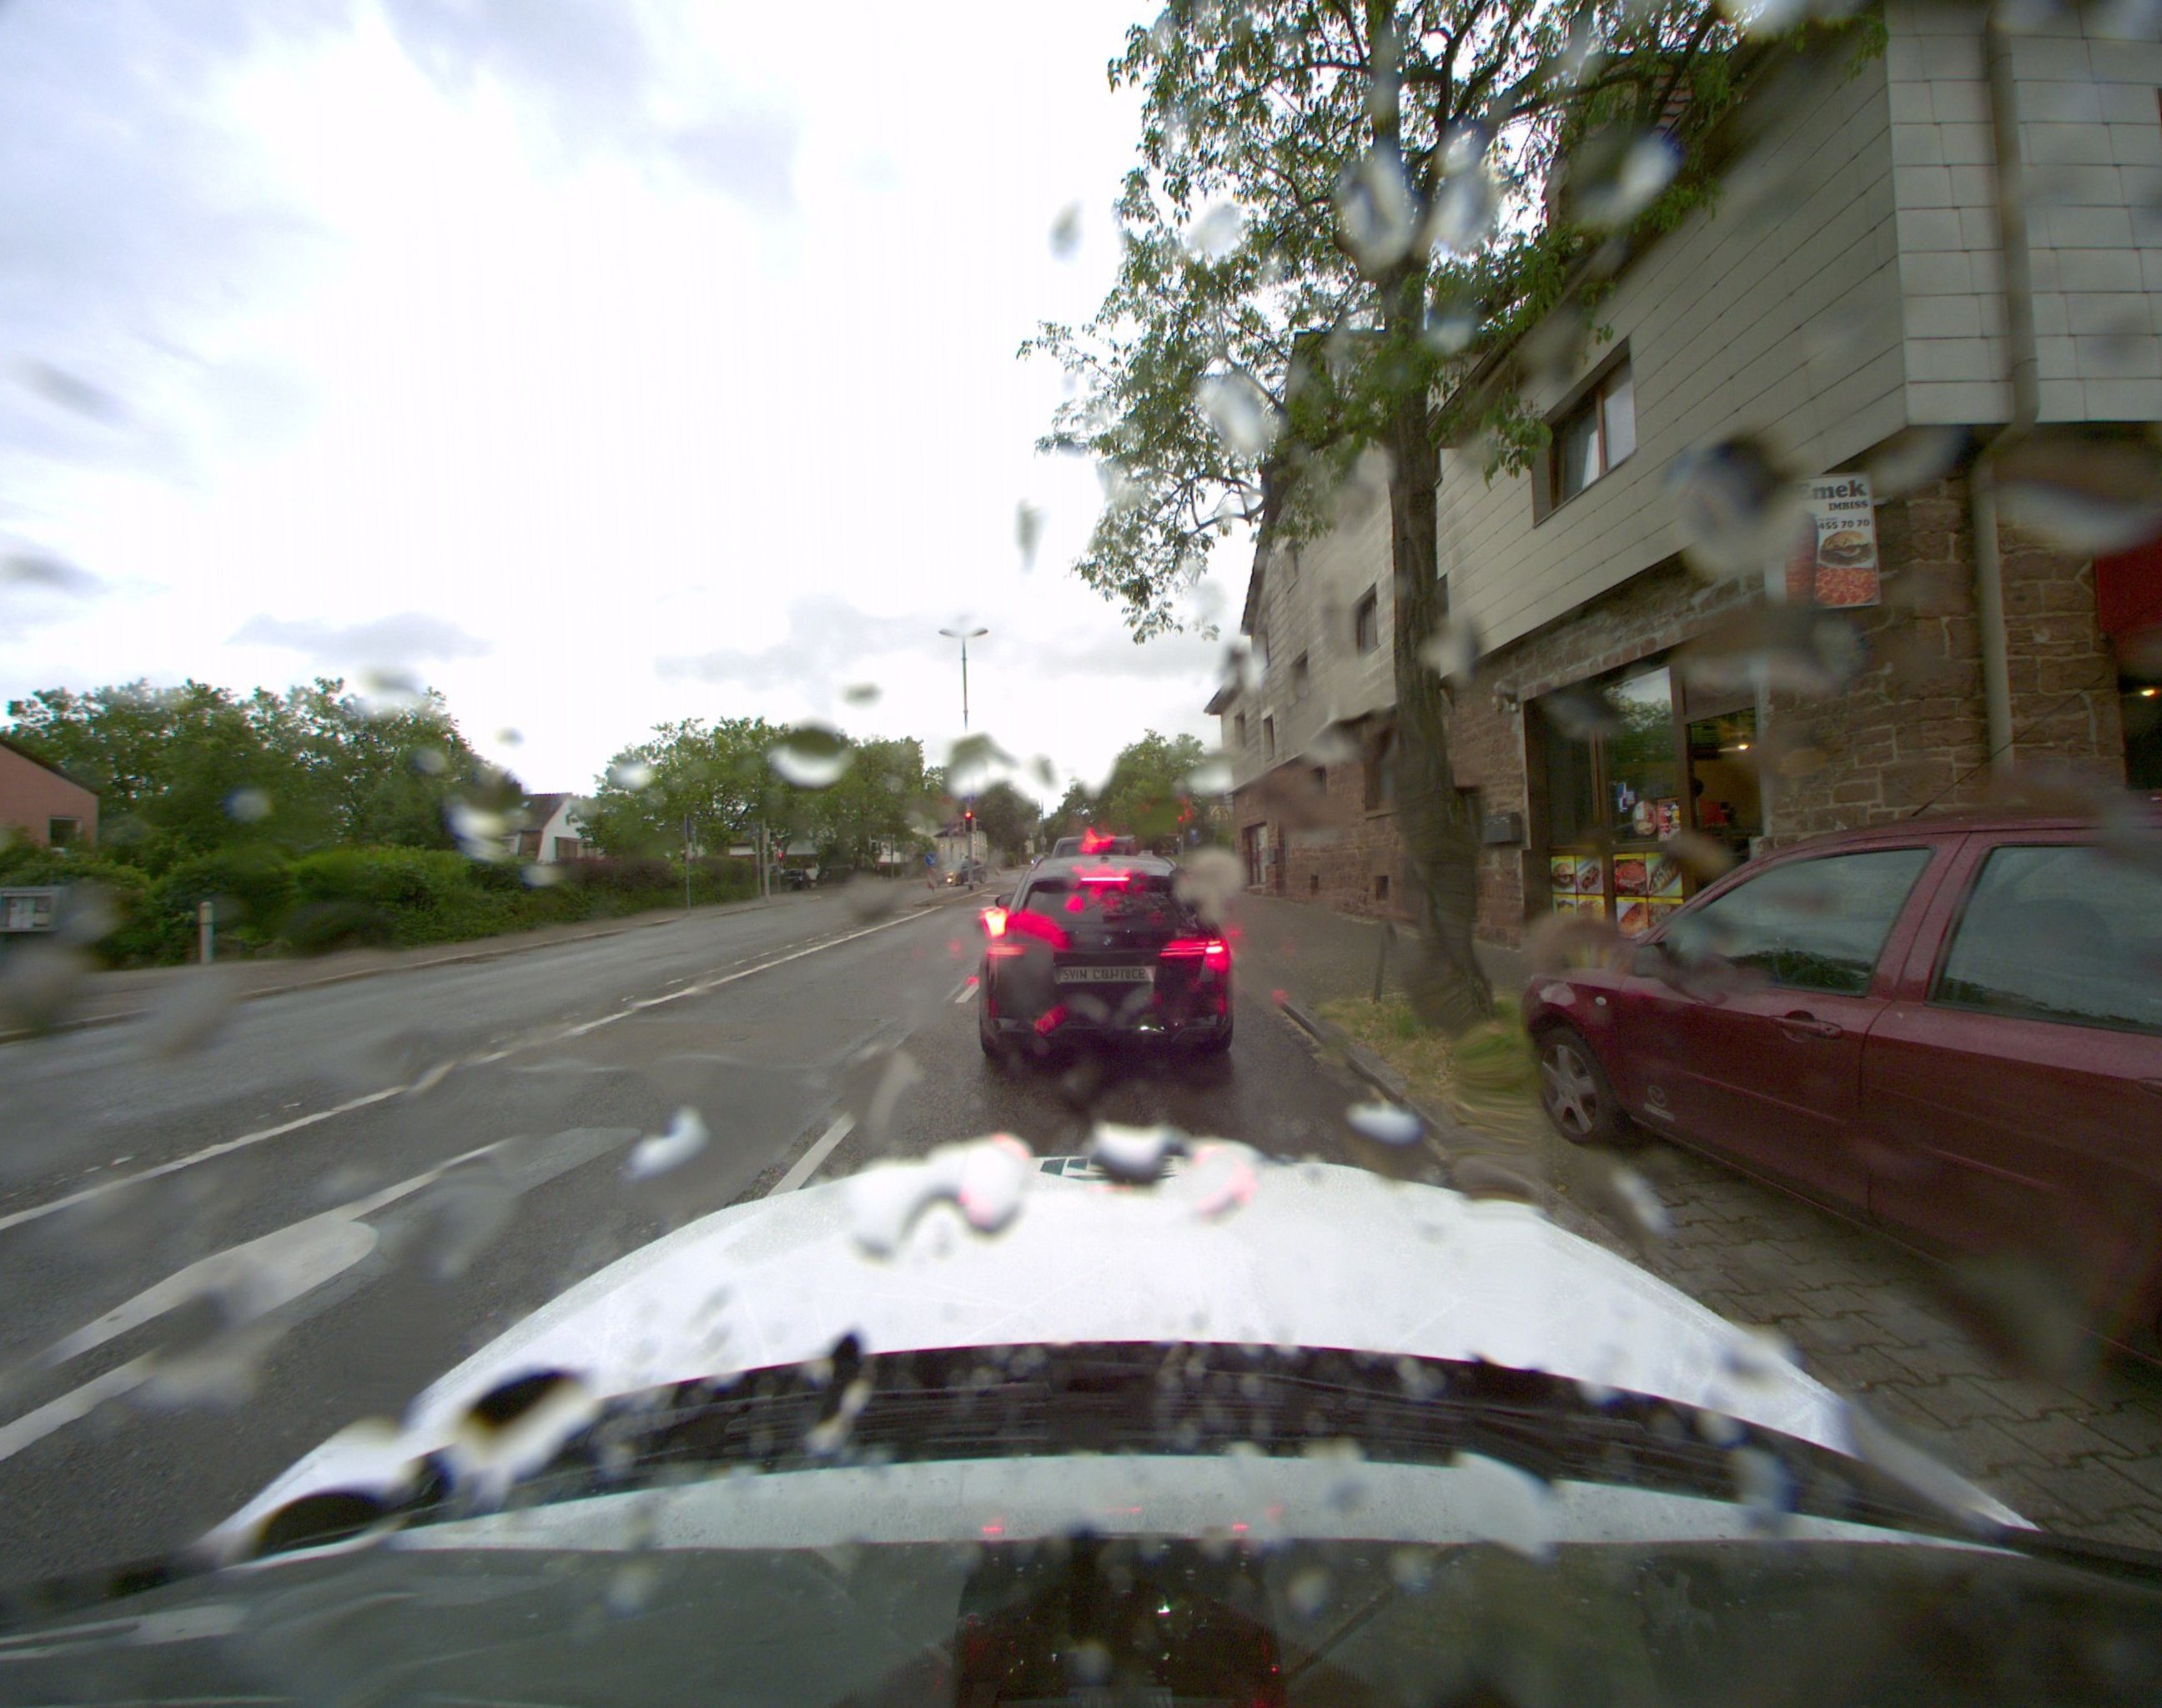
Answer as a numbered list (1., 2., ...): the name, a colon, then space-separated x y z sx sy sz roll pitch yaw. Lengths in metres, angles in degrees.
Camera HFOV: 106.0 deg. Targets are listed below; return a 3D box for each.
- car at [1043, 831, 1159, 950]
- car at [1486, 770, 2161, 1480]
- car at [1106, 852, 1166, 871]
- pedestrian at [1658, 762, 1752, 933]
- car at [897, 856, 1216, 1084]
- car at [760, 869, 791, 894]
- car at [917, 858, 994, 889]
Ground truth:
1. car: 0.313 0.562 14.821 1.778 1.817 3.999 -2 0 0
2. car: 3.039 0.520 2.615 1.579 1.490 3.627 -5 1 0
3. car: 3.985 0.539 59.148 4.002 1.288 1.835 -2 0 -22
4. pedestrian: 6.941 -0.072 9.079 0.635 1.839 0.483 -1 0 1
5. car: -0.175 0.758 7.544 2.058 1.446 4.481 -1 0 -1
6. car: -21.630 1.930 57.748 2.000 1.552 3.973 -2 0 -20
7. car: -6.845 1.041 44.866 1.974 1.510 3.980 -1 0 34
